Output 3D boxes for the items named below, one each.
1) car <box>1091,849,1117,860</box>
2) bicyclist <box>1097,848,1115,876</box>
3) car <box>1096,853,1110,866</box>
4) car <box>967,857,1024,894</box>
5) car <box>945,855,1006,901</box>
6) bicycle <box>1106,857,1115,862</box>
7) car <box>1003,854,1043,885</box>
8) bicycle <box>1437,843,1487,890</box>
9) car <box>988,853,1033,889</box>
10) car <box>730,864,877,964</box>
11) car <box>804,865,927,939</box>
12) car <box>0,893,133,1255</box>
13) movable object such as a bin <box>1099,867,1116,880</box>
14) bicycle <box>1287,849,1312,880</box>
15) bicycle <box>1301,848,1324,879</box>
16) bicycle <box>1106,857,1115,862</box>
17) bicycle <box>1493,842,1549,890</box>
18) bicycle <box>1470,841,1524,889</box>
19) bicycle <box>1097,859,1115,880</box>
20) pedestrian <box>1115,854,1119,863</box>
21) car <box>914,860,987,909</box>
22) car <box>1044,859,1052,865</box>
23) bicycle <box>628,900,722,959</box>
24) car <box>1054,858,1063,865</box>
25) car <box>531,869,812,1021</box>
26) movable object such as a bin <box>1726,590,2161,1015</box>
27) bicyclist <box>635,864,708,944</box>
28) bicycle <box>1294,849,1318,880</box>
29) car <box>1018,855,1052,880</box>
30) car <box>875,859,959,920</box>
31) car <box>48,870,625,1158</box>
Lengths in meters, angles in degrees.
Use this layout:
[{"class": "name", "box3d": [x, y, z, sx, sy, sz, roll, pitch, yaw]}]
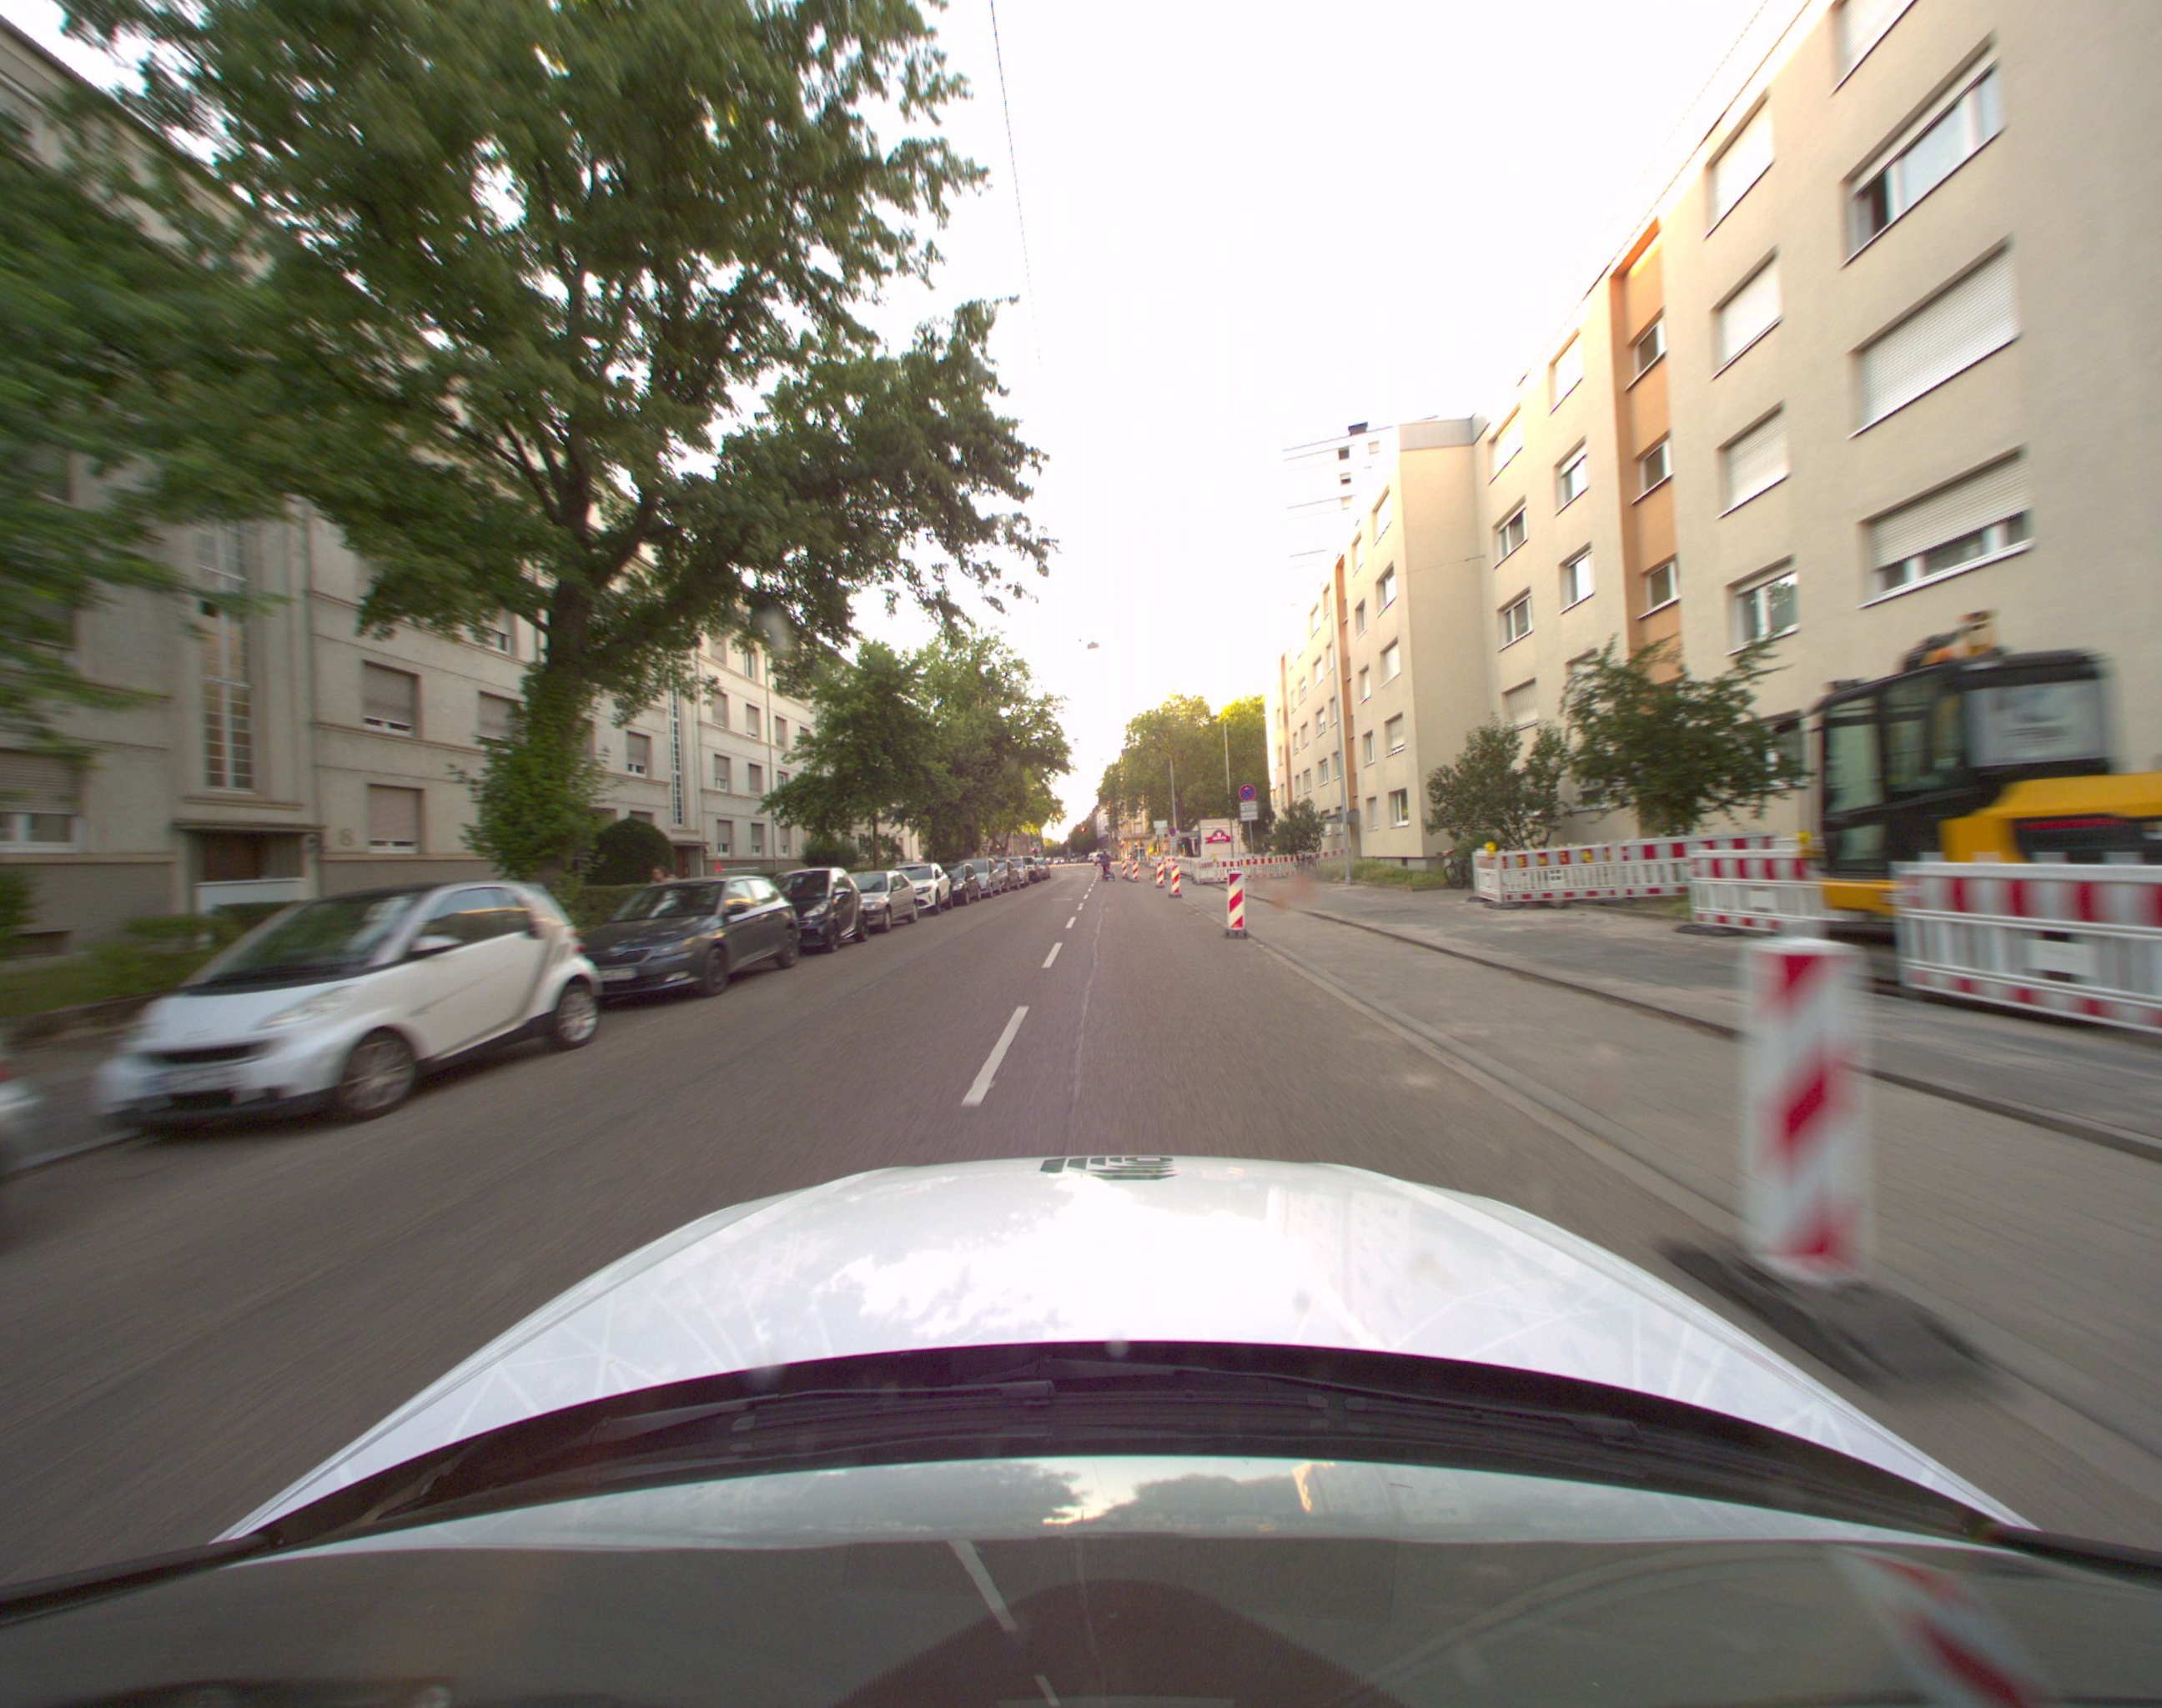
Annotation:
[{"class": "car", "box3d": [5.270, 0.153, 185.185, 5.855, 2.288, 2.047, -3, 0, -41]}, {"class": "bicyclist", "box3d": [1.508, 0.495, 50.228, 0.936, 1.581, 1.146, -5, -1, 0]}, {"class": "car", "box3d": [3.291, 0.776, 122.991, 1.860, 1.815, 4.000, -4, 0, 0]}, {"class": "car", "box3d": [-3.964, 0.971, 38.438, 1.724, 1.497, 4.277, -5, 0, 6]}, {"class": "car", "box3d": [-4.289, 0.943, 33.637, 1.701, 1.600, 4.118, -6, 0, 2]}, {"class": "bicycle", "box3d": [6.519, 1.121, 178.690, 1.909, 0.968, 0.545, -3, 0, 0]}, {"class": "car", "box3d": [-3.593, 0.942, 51.154, 1.947, 1.719, 4.772, -5, 0, 1]}, {"class": "bicycle", "box3d": [10.073, 0.330, 21.603, 0.553, 1.172, 1.819, -2, 0, 5]}, {"class": "car", "box3d": [-3.735, 0.892, 43.898, 1.841, 1.690, 4.858, -5, 0, 0]}, {"class": "car", "box3d": [-5.062, 1.025, 15.273, 1.518, 1.529, 3.164, -6, 0, 0]}, {"class": "car", "box3d": [-5.014, 1.065, 19.570, 1.584, 1.404, 4.183, -6, 0, 2]}, {"class": "car", "box3d": [-5.441, 1.010, 2.002, 1.584, 1.505, 3.800, -6, 0, 1]}, {"class": "movable object such as a bin", "box3d": [1.557, 1.143, 48.527, 0.936, 0.689, 0.993, -5, -1, 0]}, {"class": "bicycle", "box3d": [8.939, 0.410, 33.335, 0.450, 1.222, 1.911, -2, 0, 0]}, {"class": "bicycle", "box3d": [9.463, 0.397, 33.346, 0.396, 1.222, 1.826, -2, 0, 0]}, {"class": "bicycle", "box3d": [6.559, 1.237, 178.909, 1.909, 0.968, 0.545, -3, 0, 0]}, {"class": "bicycle", "box3d": [11.379, 0.294, 21.126, 0.553, 1.172, 1.819, -2, 0, 5]}, {"class": "bicycle", "box3d": [10.782, 0.268, 21.189, 0.553, 1.172, 1.819, -2, 0, 5]}, {"class": "bicycle", "box3d": [1.549, 0.930, 50.202, 0.936, 1.172, 2.358, -5, -1, 0]}, {"class": "pedestrian", "box3d": [7.345, 0.924, 165.629, 0.590, 1.886, 0.586, -3, 0, 5]}, {"class": "car", "box3d": [-4.607, 1.029, 29.223, 1.701, 1.452, 3.845, -6, 0, 2]}, {"class": "car", "box3d": [-8.889, 2.202, 219.579, 1.991, 1.651, 3.813, -1, -1, -6]}, {"class": "bicycle", "box3d": [-7.527, 1.373, 15.213, 0.805, 0.911, 1.762, -2, 0, 2]}, {"class": "car", "box3d": [-5.230, 1.755, 189.879, 1.779, 1.651, 3.813, -1, -1, -6]}, {"class": "car", "box3d": [-5.177, 1.033, 11.000, 1.585, 1.466, 4.101, -6, 0, 0]}, {"class": "movable object such as a bin", "box3d": [7.310, -0.353, 6.609, 1.923, 2.693, 2.897, -3, 0, 6]}, {"class": "bicyclist", "box3d": [-7.590, 0.904, 15.142, 0.805, 1.404, 0.974, -2, 0, 1]}, {"class": "bicycle", "box3d": [9.215, 0.404, 33.419, 0.396, 1.222, 1.911, -2, 0, 0]}, {"class": "car", "box3d": [-3.316, 0.952, 58.992, 1.946, 1.616, 4.606, -5, 0, 1]}, {"class": "car", "box3d": [-4.889, 1.007, 24.832, 1.585, 1.538, 4.205, -6, 0, 0]}, {"class": "car", "box3d": [-5.313, 0.997, 6.356, 1.583, 1.529, 2.924, -6, 0, 4]}]
